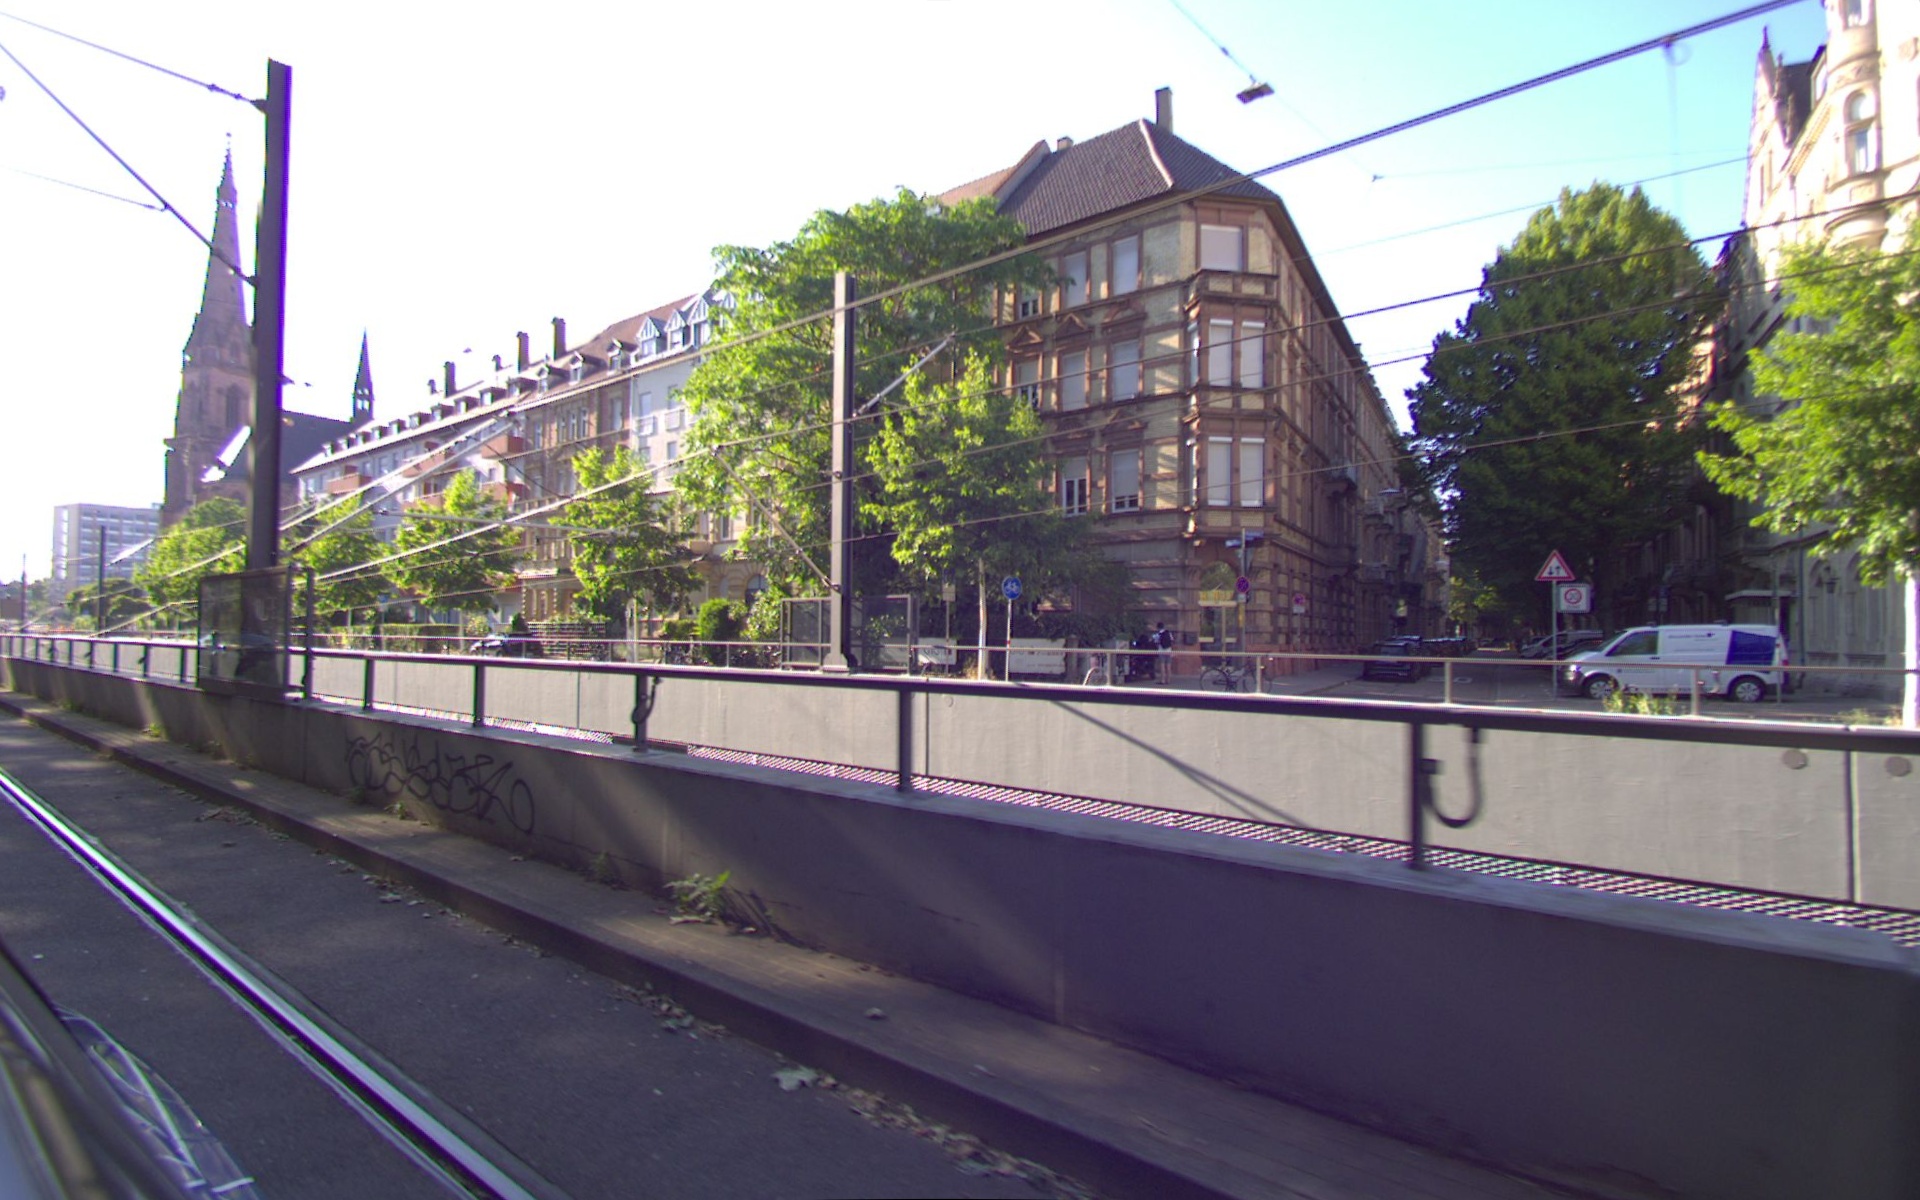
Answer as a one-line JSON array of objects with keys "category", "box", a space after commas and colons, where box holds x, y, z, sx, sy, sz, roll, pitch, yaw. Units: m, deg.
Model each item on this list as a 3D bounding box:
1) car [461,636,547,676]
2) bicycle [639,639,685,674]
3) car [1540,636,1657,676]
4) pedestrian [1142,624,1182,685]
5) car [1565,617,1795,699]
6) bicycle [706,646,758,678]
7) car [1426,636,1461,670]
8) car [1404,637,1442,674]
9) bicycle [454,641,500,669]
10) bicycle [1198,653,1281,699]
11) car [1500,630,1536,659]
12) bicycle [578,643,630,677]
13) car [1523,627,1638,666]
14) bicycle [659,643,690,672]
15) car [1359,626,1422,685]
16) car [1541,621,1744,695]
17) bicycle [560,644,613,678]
[{"category": "car", "box": [-19.864, 2.404, 44.043, 3.995, 1.597, 1.814, -2, 0, 39]}, {"category": "bicycle", "box": [-10.635, 1.990, 36.173, 0.551, 1.107, 2.368, -2, 0, 10]}, {"category": "car", "box": [27.967, 2.441, 44.521, 4.196, 1.618, 1.855, -2, 0, 29]}, {"category": "pedestrian", "box": [5.875, 1.575, 29.441, 0.710, 1.701, 0.865, -2, 0, -43]}, {"category": "car", "box": [17.926, 1.425, 25.506, 4.461, 1.863, 1.980, -2, 0, 29]}, {"category": "bicycle", "box": [-8.491, 2.277, 37.626, 2.374, 1.107, 0.549, -2, 0, 41]}, {"category": "car", "box": [29.255, 3.191, 61.330, 1.789, 1.761, 4.128, -2, 0, 24]}, {"category": "car", "box": [25.317, 2.985, 55.364, 1.789, 1.761, 4.128, -2, 0, 24]}, {"category": "bicycle", "box": [-22.300, 2.524, 46.749, 0.562, 1.187, 1.788, -2, 0, 43]}, {"category": "bicycle", "box": [6.931, 1.881, 25.139, 1.923, 1.013, 0.454, 2, 0, 10]}, {"category": "car", "box": [38.066, 3.038, 69.082, 1.789, 1.761, 4.128, -2, 0, 24]}, {"category": "bicycle", "box": [-13.585, 2.279, 38.722, 0.635, 1.107, 2.780, -2, 0, 8]}, {"category": "car", "box": [31.771, 2.406, 52.020, 4.877, 1.860, 1.855, -2, 0, 29]}, {"category": "bicycle", "box": [-10.107, 2.031, 35.842, 0.533, 0.912, 1.265, -2, 0, 10]}, {"category": "car", "box": [15.925, 1.987, 37.341, 1.988, 1.863, 4.410, -2, 0, 24]}, {"category": "car", "box": [18.798, 1.574, 28.176, 4.461, 1.863, 1.980, -2, 0, 29]}, {"category": "bicycle", "box": [-14.268, 2.301, 38.789, 0.635, 1.107, 2.780, -2, 0, 8]}]
